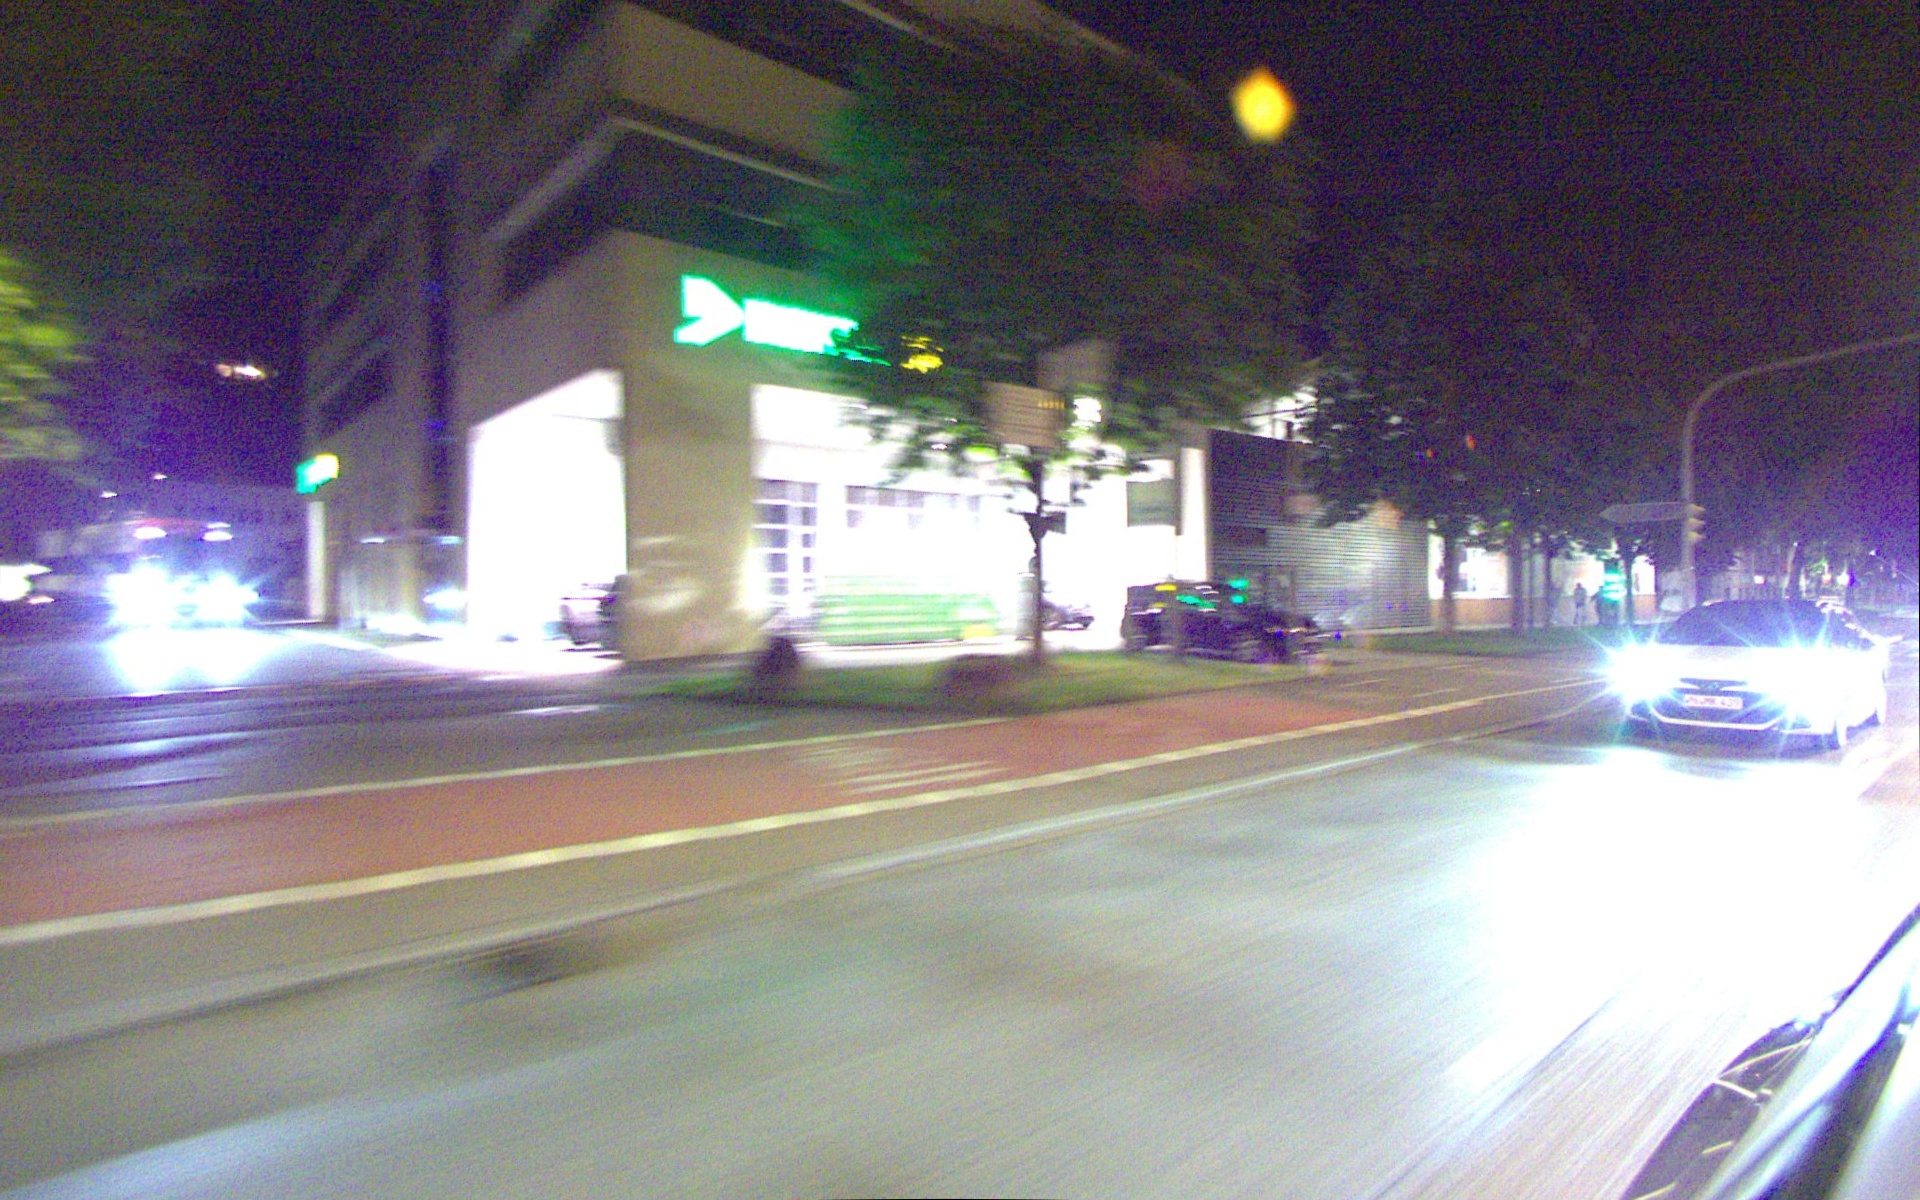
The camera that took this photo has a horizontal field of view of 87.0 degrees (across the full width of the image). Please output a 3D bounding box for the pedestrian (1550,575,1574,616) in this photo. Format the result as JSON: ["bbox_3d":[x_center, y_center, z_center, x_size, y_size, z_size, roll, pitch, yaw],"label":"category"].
[{"bbox_3d":[26.955,-0.204,45.307,0.890,1.839,0.675,0,1,-41],"label":"pedestrian"}]

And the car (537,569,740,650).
[{"bbox_3d":[-7.019,0.128,22.329,3.933,1.615,1.729,-2,2,-43],"label":"car"}]

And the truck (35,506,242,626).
[{"bbox_3d":[-33.455,-1.316,40.701,16.750,4.033,3.088,1,2,39],"label":"truck"}]

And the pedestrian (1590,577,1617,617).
[{"bbox_3d":[28.016,-0.145,44.044,0.968,1.738,0.736,0,1,-41],"label":"pedestrian"}]

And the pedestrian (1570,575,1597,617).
[{"bbox_3d":[27.589,-0.197,44.785,0.953,1.811,0.720,0,1,-41],"label":"pedestrian"}]

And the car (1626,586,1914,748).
[{"bbox_3d":[9.109,0.584,11.240,4.420,1.448,1.727,-1,0,-41],"label":"car"}]

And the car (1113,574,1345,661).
[{"bbox_3d":[5.093,0.251,19.592,1.756,1.472,4.089,-1,2,-41],"label":"car"}]

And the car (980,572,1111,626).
[{"bbox_3d":[2.598,-0.073,31.459,1.687,1.585,3.954,-2,2,-43],"label":"car"}]
